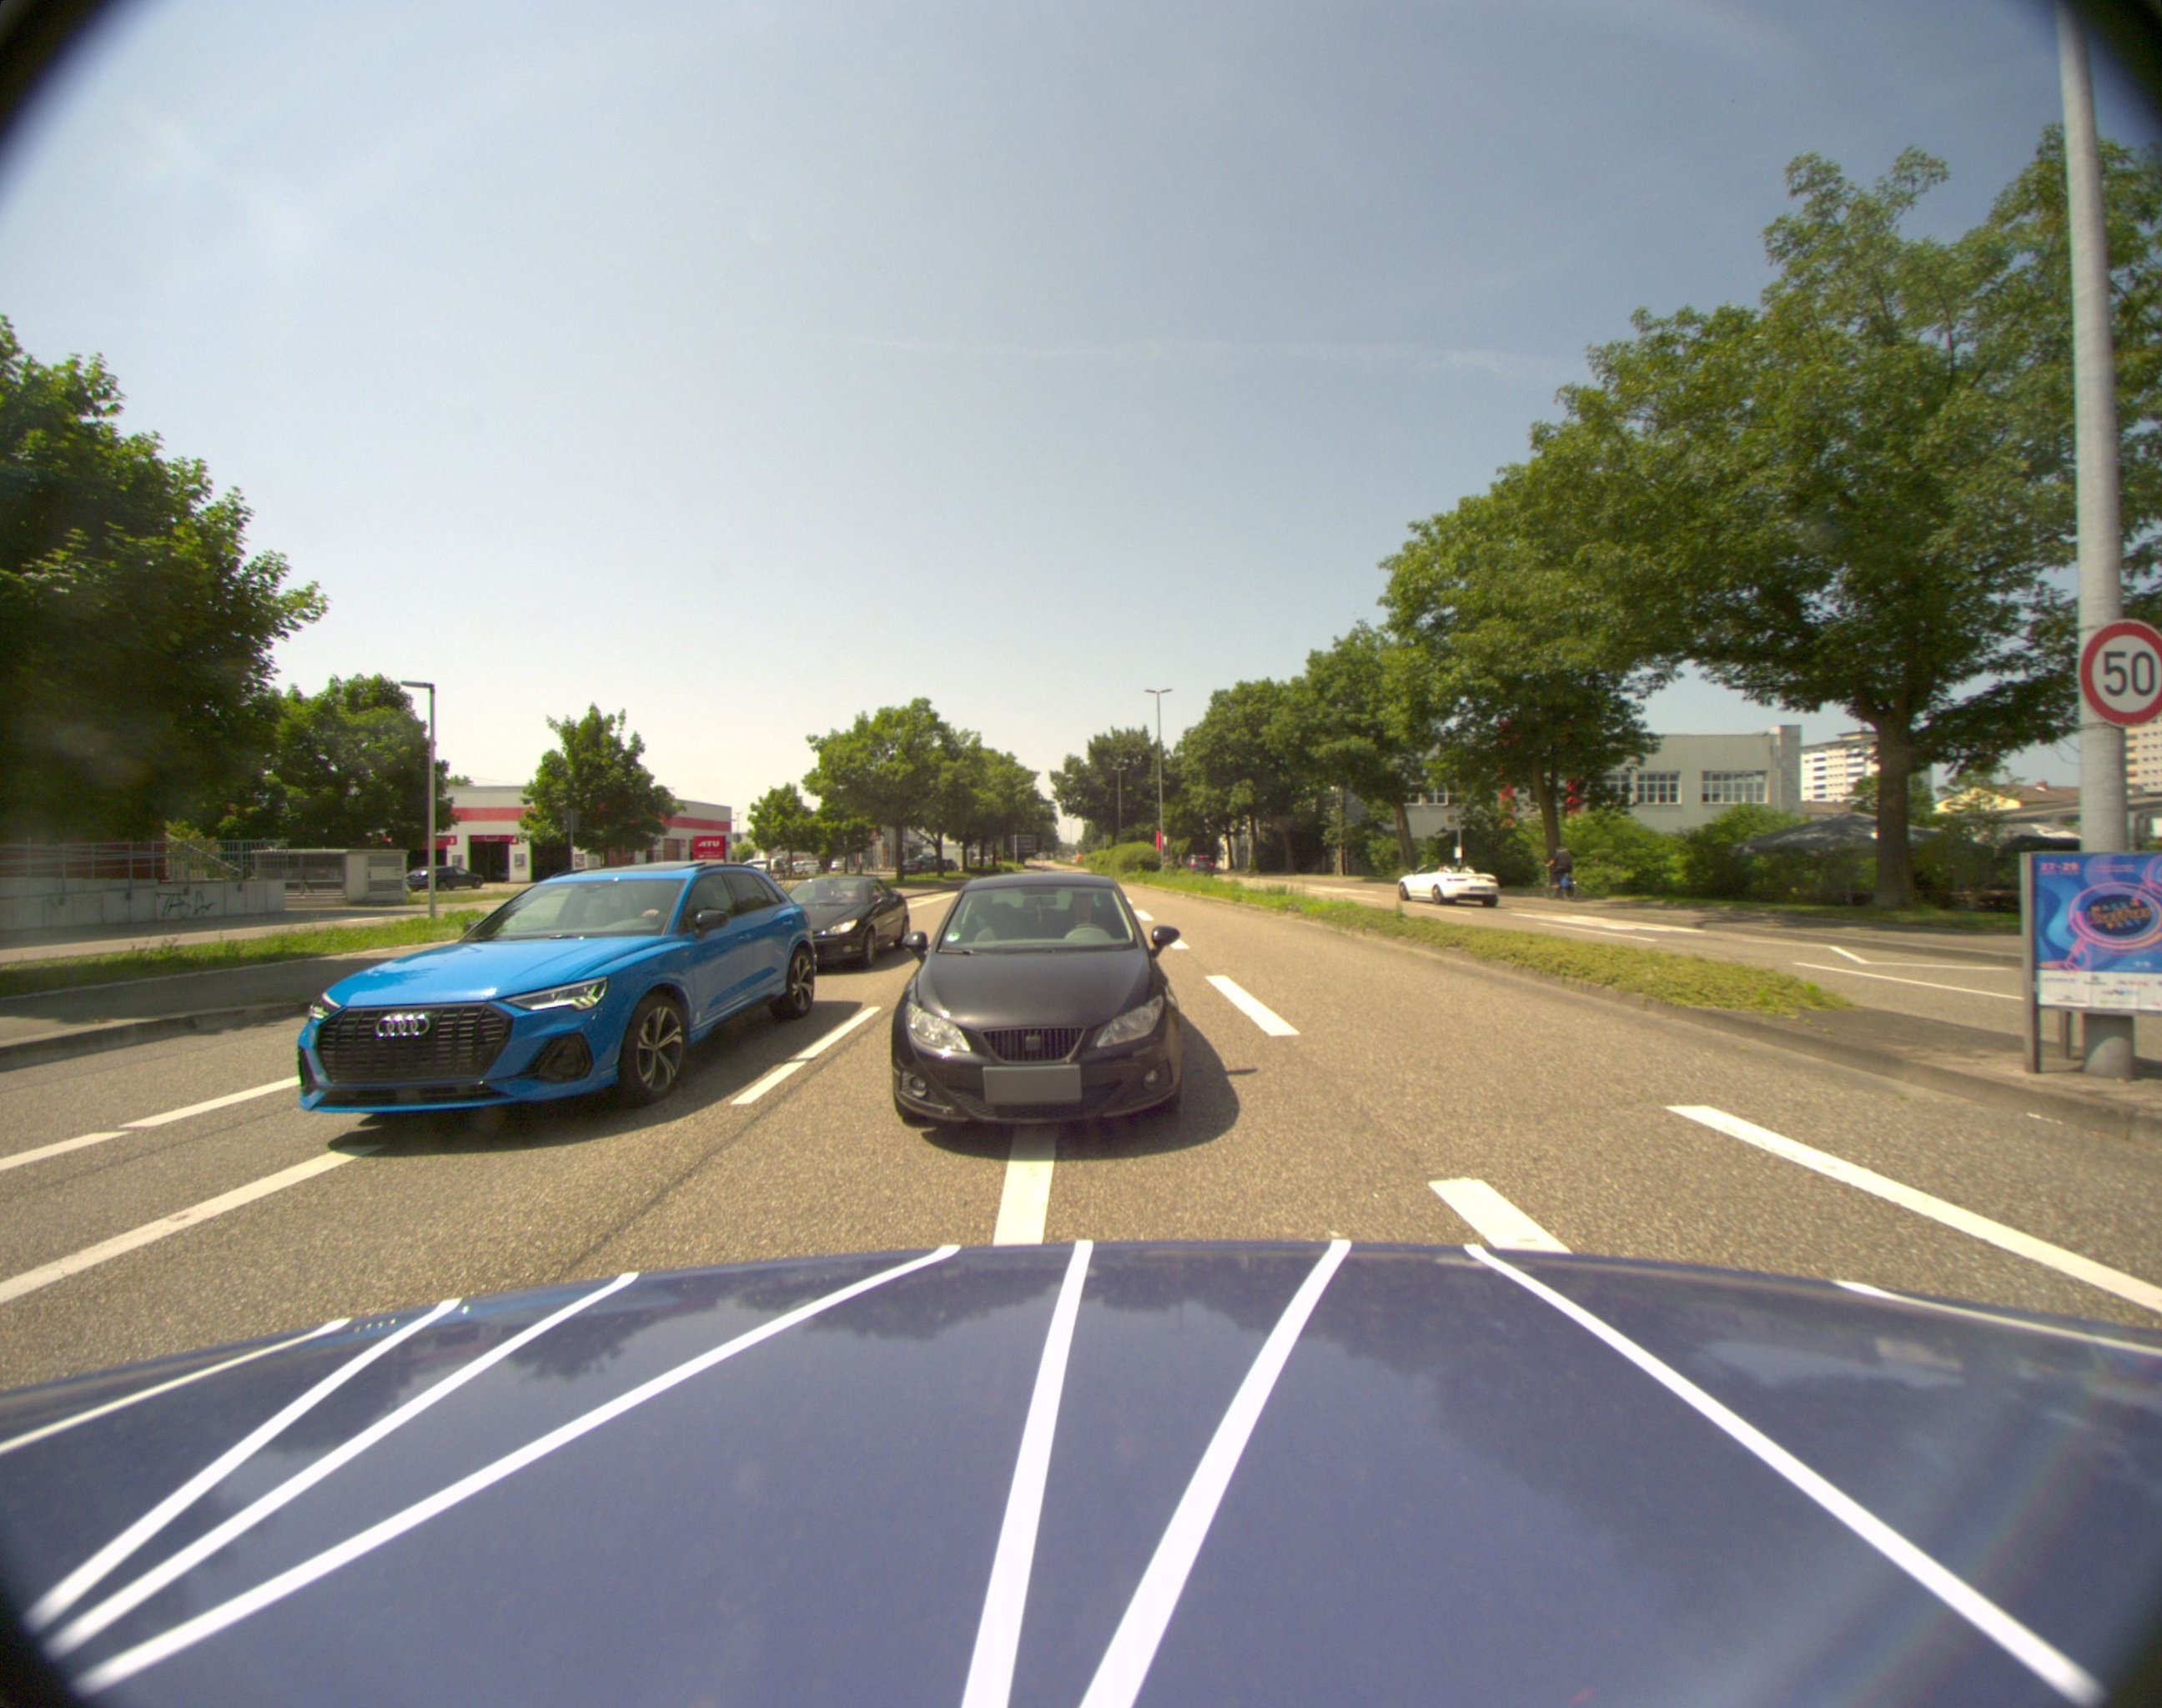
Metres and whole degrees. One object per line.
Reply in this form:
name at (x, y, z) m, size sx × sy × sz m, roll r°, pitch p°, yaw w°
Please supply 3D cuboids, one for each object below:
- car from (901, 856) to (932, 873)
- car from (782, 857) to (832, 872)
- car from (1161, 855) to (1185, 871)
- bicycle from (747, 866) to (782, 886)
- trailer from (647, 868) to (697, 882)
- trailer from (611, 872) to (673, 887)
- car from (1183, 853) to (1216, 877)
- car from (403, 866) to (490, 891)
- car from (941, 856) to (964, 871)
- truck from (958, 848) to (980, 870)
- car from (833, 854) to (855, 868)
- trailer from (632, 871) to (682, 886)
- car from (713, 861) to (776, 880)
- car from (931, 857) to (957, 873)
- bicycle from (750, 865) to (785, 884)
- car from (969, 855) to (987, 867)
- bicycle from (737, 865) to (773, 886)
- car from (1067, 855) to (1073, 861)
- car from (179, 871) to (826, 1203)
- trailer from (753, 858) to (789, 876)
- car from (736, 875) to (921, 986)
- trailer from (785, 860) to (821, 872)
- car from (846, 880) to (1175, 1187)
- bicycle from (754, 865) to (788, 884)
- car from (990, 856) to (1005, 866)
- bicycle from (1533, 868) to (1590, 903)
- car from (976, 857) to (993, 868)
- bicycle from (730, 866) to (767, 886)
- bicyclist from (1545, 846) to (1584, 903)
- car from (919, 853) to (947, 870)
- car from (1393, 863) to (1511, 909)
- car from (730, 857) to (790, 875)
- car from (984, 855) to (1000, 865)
car at (-13.509, 0.846, 62.717) m, size 1.642 × 1.363 × 4.000 m, roll 0°, pitch 0°, yaw 1°
car at (-25.078, 0.941, 69.618) m, size 3.998 × 1.293 × 1.689 m, roll 0°, pitch 0°, yaw -3°
car at (8.423, 0.843, 69.820) m, size 1.683 × 1.331 × 3.999 m, roll 2°, pitch 0°, yaw -1°
bicycle at (-18.193, 1.235, 43.740) m, size 1.784 × 1.117 × 0.514 m, roll 0°, pitch 0°, yaw -6°
trailer at (-24.068, 1.209, 44.734) m, size 2.137 × 0.757 × 1.394 m, roll -1°, pitch 0°, yaw 1°
trailer at (-23.794, 1.391, 41.239) m, size 2.467 × 0.757 × 1.449 m, roll -1°, pitch 0°, yaw 1°
car at (8.578, 0.794, 55.425) m, size 1.691 × 1.591 × 3.884 m, roll 2°, pitch 0°, yaw -1°
car at (-38.161, 1.454, 45.837) m, size 1.717 × 1.364 × 4.145 m, roll 0°, pitch 0°, yaw 0°
car at (-13.554, 1.012, 80.293) m, size 1.719 × 1.504 × 4.000 m, roll 0°, pitch 0°, yaw 1°
truck at (-13.535, 0.564, 92.021) m, size 1.904 × 2.552 × 4.000 m, roll 0°, pitch 0°, yaw 2°
car at (-27.415, 0.837, 87.991) m, size 1.759 × 1.586 × 3.997 m, roll 0°, pitch 0°, yaw -7°
trailer at (-24.047, 1.376, 43.134) m, size 2.137 × 0.757 × 1.267 m, roll -1°, pitch 0°, yaw 1°
car at (-25.502, 1.260, 57.672) m, size 3.998 × 1.394 × 1.747 m, roll 0°, pitch 0°, yaw -2°
car at (-13.327, 1.041, 74.118) m, size 1.719 × 1.511 × 4.000 m, roll 0°, pitch 0°, yaw 1°
bicycle at (-18.288, 1.198, 44.380) m, size 1.784 × 1.117 × 0.514 m, roll 0°, pitch 0°, yaw -6°
car at (-13.300, 0.910, 97.856) m, size 1.719 × 1.458 × 4.000 m, roll 0°, pitch 0°, yaw 1°
bicycle at (-18.465, 1.213, 42.994) m, size 1.784 × 1.117 × 0.514 m, roll 0°, pitch 0°, yaw -6°
car at (-3.421, 1.310, 235.792) m, size 1.999 × 1.692 × 4.000 m, roll 0°, pitch 0°, yaw 0°
car at (-3.730, 0.998, 6.142) m, size 1.842 × 1.586 × 4.400 m, roll -1°, pitch 0°, yaw 0°
trailer at (-27.303, 1.134, 66.962) m, size 2.642 × 1.518 × 1.415 m, roll 0°, pitch 0°, yaw -2°
car at (-3.857, 1.103, 12.340) m, size 1.642 × 1.336 × 4.000 m, roll -3°, pitch 0°, yaw 0°
trailer at (-24.574, 1.078, 67.182) m, size 2.642 × 1.046 × 1.578 m, roll 0°, pitch 0°, yaw -2°
car at (-0.371, 0.970, 5.821) m, size 1.642 × 1.395 × 4.000 m, roll 0°, pitch 0°, yaw -1°
bicycle at (-18.378, 1.219, 45.099) m, size 1.784 × 1.117 × 0.514 m, roll 0°, pitch 0°, yaw -6°
car at (-13.006, 1.119, 118.453) m, size 1.719 × 1.458 × 4.000 m, roll 0°, pitch 0°, yaw 1°
bicycle at (15.275, 0.982, 24.201) m, size 0.656 × 1.045 × 1.884 m, roll -1°, pitch 0°, yaw 1°
car at (-13.268, 1.221, 104.621) m, size 1.719 × 1.458 × 4.000 m, roll 0°, pitch 0°, yaw 1°
bicycle at (-18.550, 1.231, 42.367) m, size 1.784 × 1.117 × 0.514 m, roll 0°, pitch 0°, yaw -6°
bicyclist at (15.254, 0.621, 24.005) m, size 0.651 × 1.759 × 0.927 m, roll -1°, pitch 1°, yaw 0°
car at (-13.423, 0.693, 68.945) m, size 1.719 × 1.458 × 4.000 m, roll 0°, pitch 0°, yaw 1°
car at (11.959, 0.992, 24.854) m, size 1.722 × 1.255 × 4.301 m, roll 2°, pitch 0°, yaw 0°
car at (-25.273, 0.954, 59.901) m, size 3.998 × 1.394 × 1.747 m, roll 0°, pitch 0°, yaw -3°
car at (-13.121, 0.842, 112.125) m, size 1.719 × 1.458 × 4.000 m, roll 0°, pitch 0°, yaw 1°
